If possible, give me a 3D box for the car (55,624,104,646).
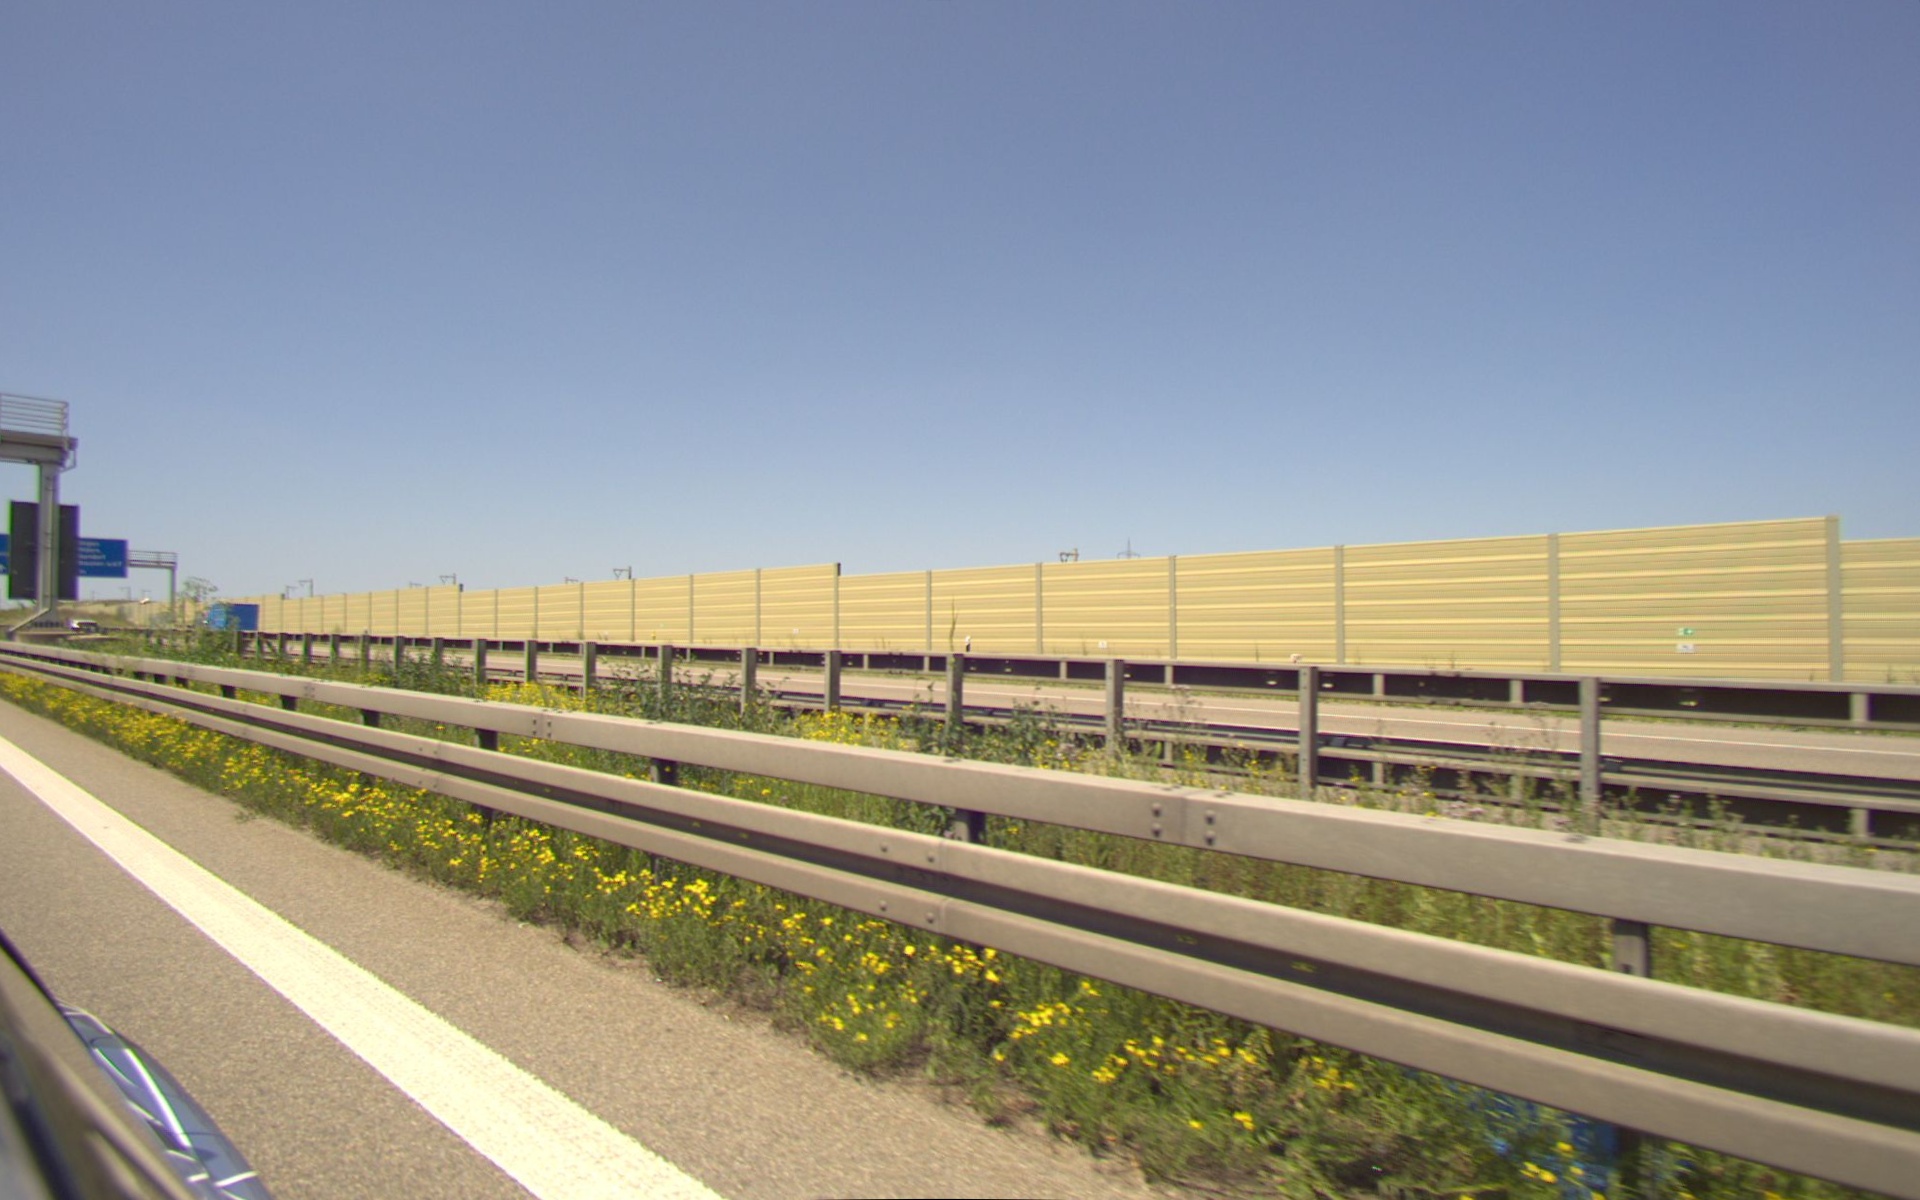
[{"bbox_3d":[-62.906,2.513,72.271,4.720,1.442,1.874,-1,-4,40],"label":"car"}]

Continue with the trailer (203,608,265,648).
[{"bbox_3d":[-42.976,1.627,59.871,4.201,2.255,1.973,-1,0,40],"label":"trailer"}]

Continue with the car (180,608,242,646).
[{"bbox_3d":[-46.580,1.687,62.886,5.094,2.242,1.973,-1,0,40],"label":"car"}]
